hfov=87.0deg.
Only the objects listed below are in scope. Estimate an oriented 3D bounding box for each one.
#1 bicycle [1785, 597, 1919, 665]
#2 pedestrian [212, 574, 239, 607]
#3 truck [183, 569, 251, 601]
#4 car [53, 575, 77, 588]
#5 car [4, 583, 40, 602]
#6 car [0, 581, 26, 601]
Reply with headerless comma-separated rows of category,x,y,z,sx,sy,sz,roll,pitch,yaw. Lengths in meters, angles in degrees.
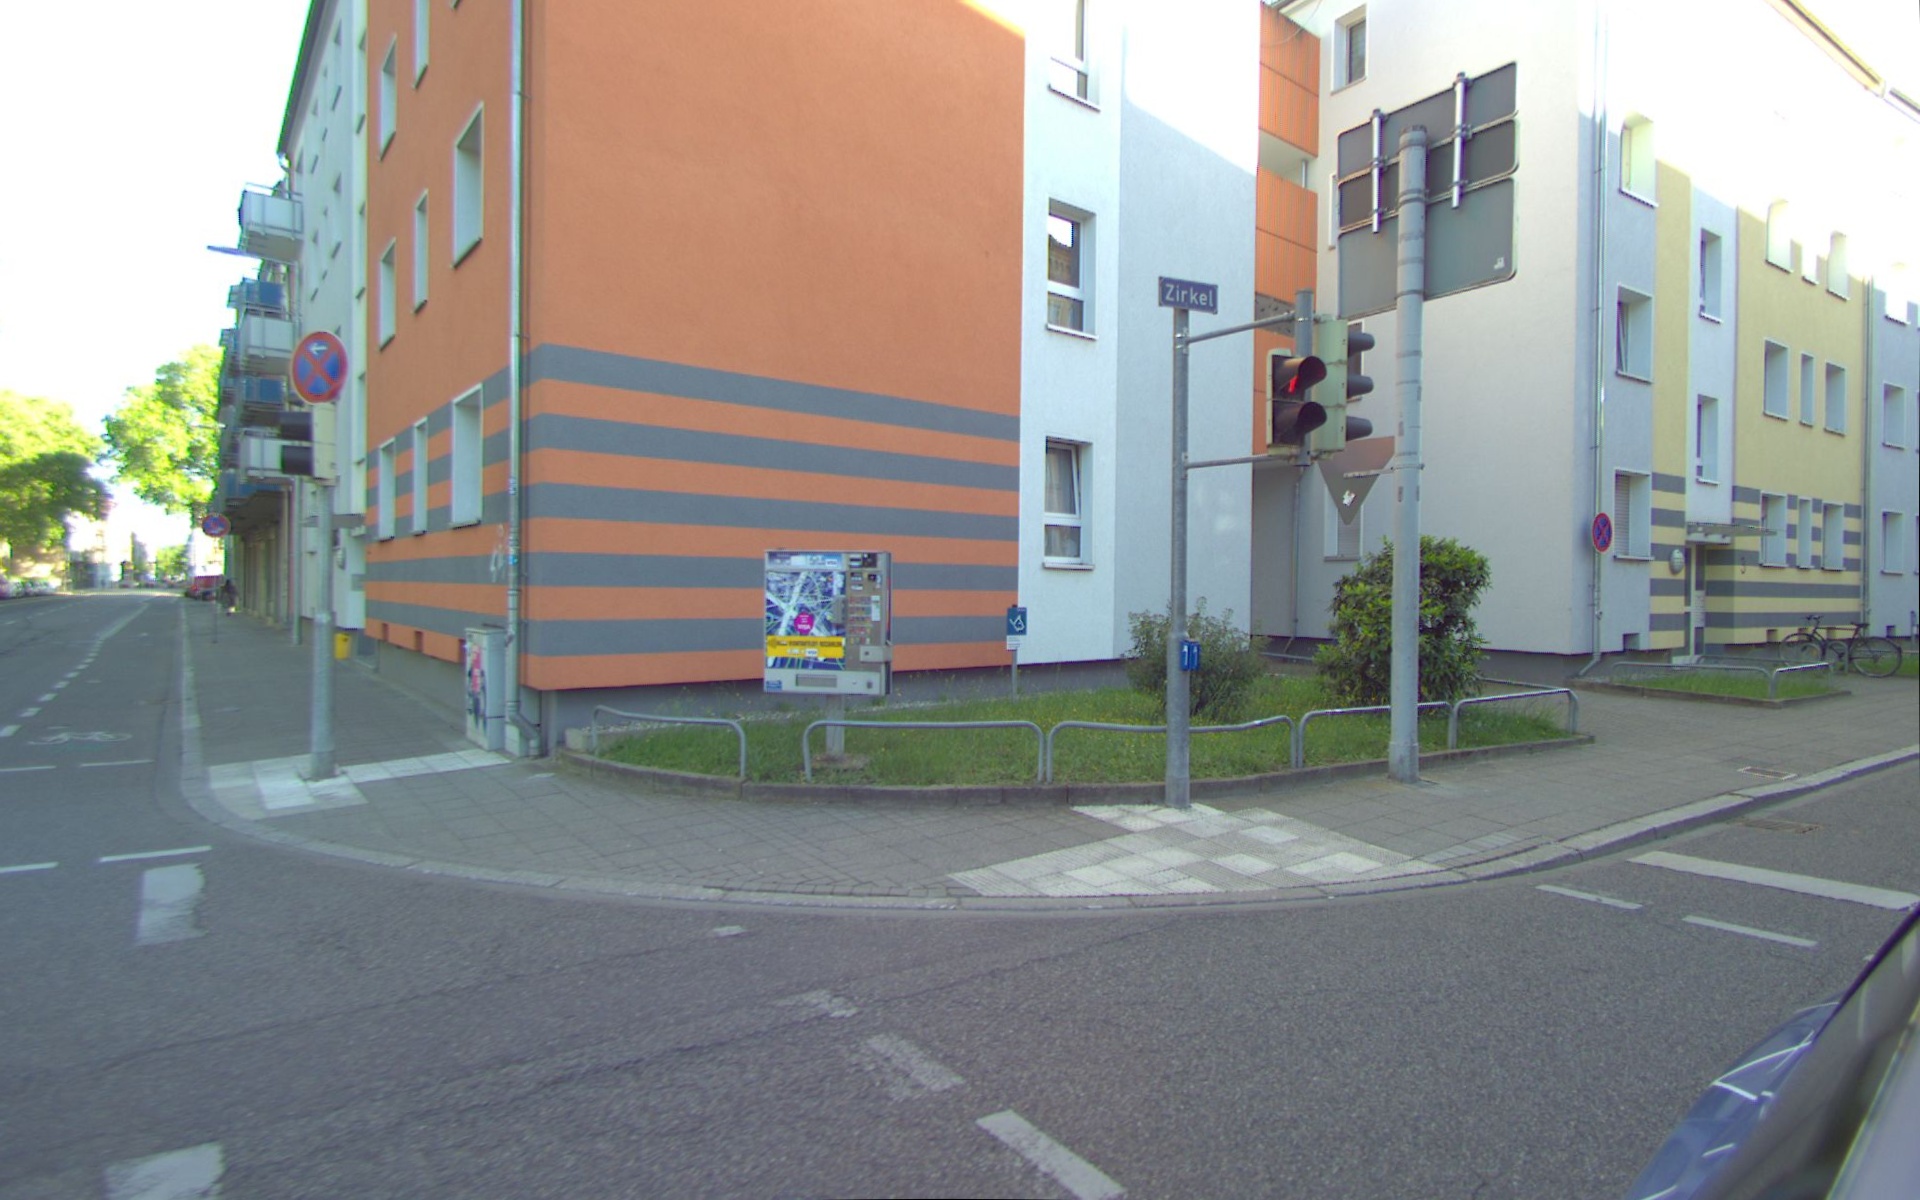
bicycle,15.845,0.524,17.949,0.573,1.061,1.777,-1,3,-37
pedestrian,-31.497,-0.424,43.394,0.931,1.411,0.954,0,1,-38
truck,-60.725,-1.235,82.746,4.365,2.477,1.800,-1,0,-39
car,-106.726,-2.207,120.749,1.856,1.565,3.997,-1,1,-37
car,-78.354,-0.620,84.571,1.856,1.565,3.997,-1,1,-37
car,-74.577,-0.709,79.142,1.856,1.565,3.997,-1,1,-37
